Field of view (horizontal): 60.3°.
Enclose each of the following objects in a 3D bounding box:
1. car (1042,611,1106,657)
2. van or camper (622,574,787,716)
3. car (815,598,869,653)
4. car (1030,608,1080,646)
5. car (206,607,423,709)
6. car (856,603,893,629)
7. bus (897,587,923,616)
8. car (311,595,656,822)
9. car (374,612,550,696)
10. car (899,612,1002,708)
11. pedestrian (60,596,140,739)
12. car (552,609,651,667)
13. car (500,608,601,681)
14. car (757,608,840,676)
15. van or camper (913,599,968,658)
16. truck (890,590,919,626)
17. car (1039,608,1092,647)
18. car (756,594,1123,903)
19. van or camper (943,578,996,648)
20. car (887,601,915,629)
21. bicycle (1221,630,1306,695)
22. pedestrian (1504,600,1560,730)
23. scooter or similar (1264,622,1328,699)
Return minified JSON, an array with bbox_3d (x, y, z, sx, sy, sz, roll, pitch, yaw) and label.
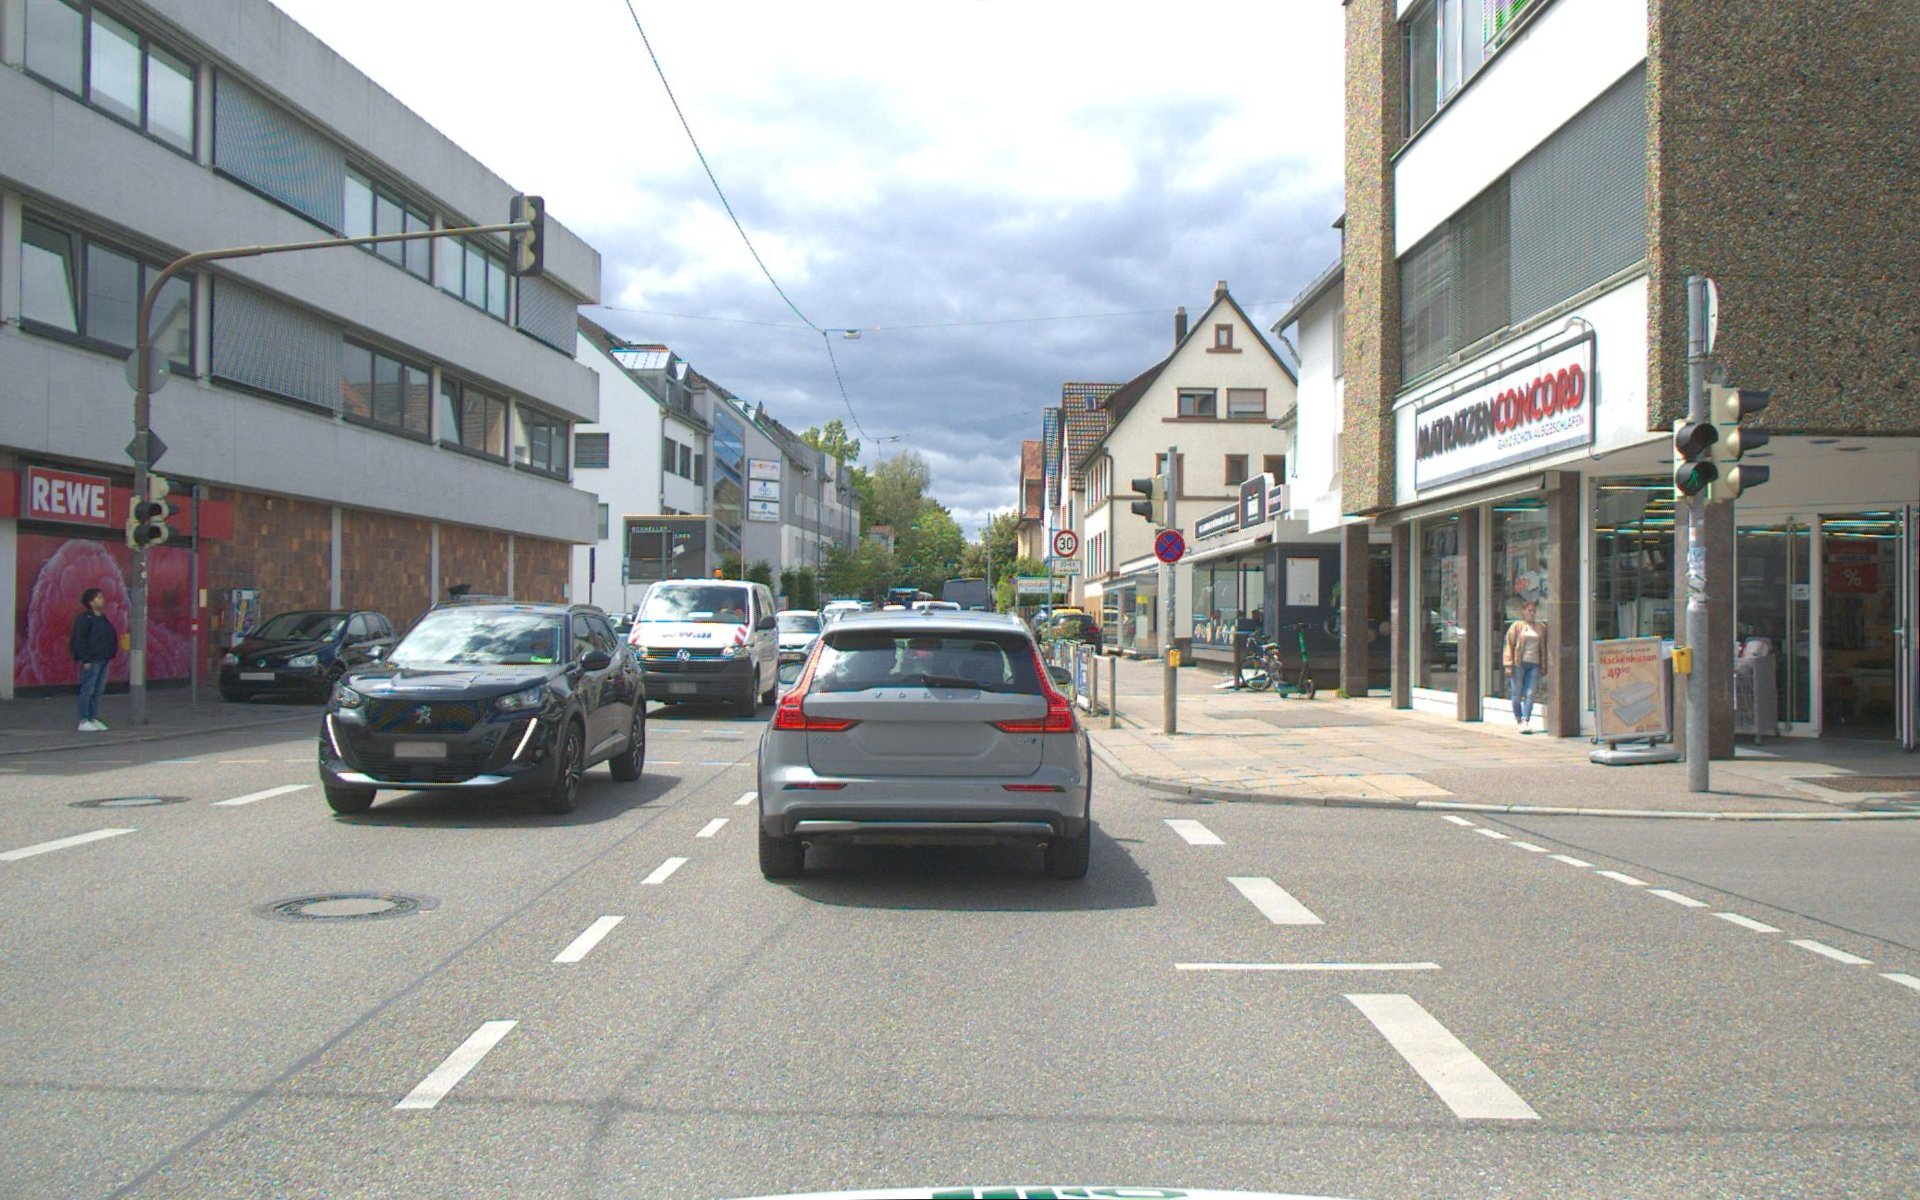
[{"bbox_3d":[3.848,1.171,56.311,1.676,1.490,3.997,1,-2,-3],"label":"car"},{"bbox_3d":[-3.733,0.599,24.957,1.827,1.931,4.691,0,0,-1],"label":"van or camper"},{"bbox_3d":[-4.425,0.963,62.594,1.801,1.951,4.154,1,-1,-1],"label":"car"},{"bbox_3d":[3.989,1.173,69.826,1.844,1.526,3.970,1,-2,0],"label":"car"},{"bbox_3d":[-10.428,0.907,27.058,1.747,1.490,4.088,2,-1,3],"label":"car"},{"bbox_3d":[-5.029,0.939,97.745,1.725,1.451,4.002,-1,0,4],"label":"car"},{"bbox_3d":[-4.714,0.124,157.920,2.229,2.715,7.429,0,0,0],"label":"bus"},{"bbox_3d":[-3.588,0.749,13.177,1.648,1.523,3.966,0,0,-1],"label":"car"},{"bbox_3d":[-9.682,1.000,32.529,1.864,1.469,4.445,2,0,3],"label":"car"},{"bbox_3d":[-0.194,0.985,28.182,1.617,1.508,3.606,1,-1,-1],"label":"car"},{"bbox_3d":[-10.254,0.790,19.736,0.606,1.670,0.660,0,-1,0],"label":"pedestrian"},{"bbox_3d":[-9.621,0.989,44.699,1.719,1.451,3.863,-1,0,2],"label":"car"},{"bbox_3d":[-9.471,1.003,38.432,1.574,1.570,2.944,2,0,0],"label":"car"},{"bbox_3d":[-3.961,0.997,41.101,1.634,1.581,4.214,0,0,0],"label":"car"},{"bbox_3d":[-0.668,0.990,55.532,1.782,1.867,3.998,0,-2,-1],"label":"van or camper"},{"bbox_3d":[-4.687,0.686,140.737,2.229,2.937,7.078,0,0,0],"label":"truck"},{"bbox_3d":[4.118,1.091,65.031,1.844,1.440,3.970,1,-2,0],"label":"car"},{"bbox_3d":[-0.144,0.756,10.141,1.798,1.512,3.999,0,-1,-1],"label":"car"},{"bbox_3d":[0.376,0.525,68.022,2.080,2.733,4.780,0,0,0],"label":"van or camper"},{"bbox_3d":[-4.109,1.058,115.059,1.761,1.848,3.999,1,-2,0],"label":"car"},{"bbox_3d":[5.732,1.159,31.339,0.546,1.164,2.288,0,0,-18],"label":"bicycle"},{"bbox_3d":[6.675,0.754,19.311,0.493,1.485,0.500,-3,-1,12],"label":"pedestrian"},{"bbox_3d":[5.756,1.041,28.384,0.336,1.275,1.235,-2,-1,-26],"label":"scooter or similar"}]
